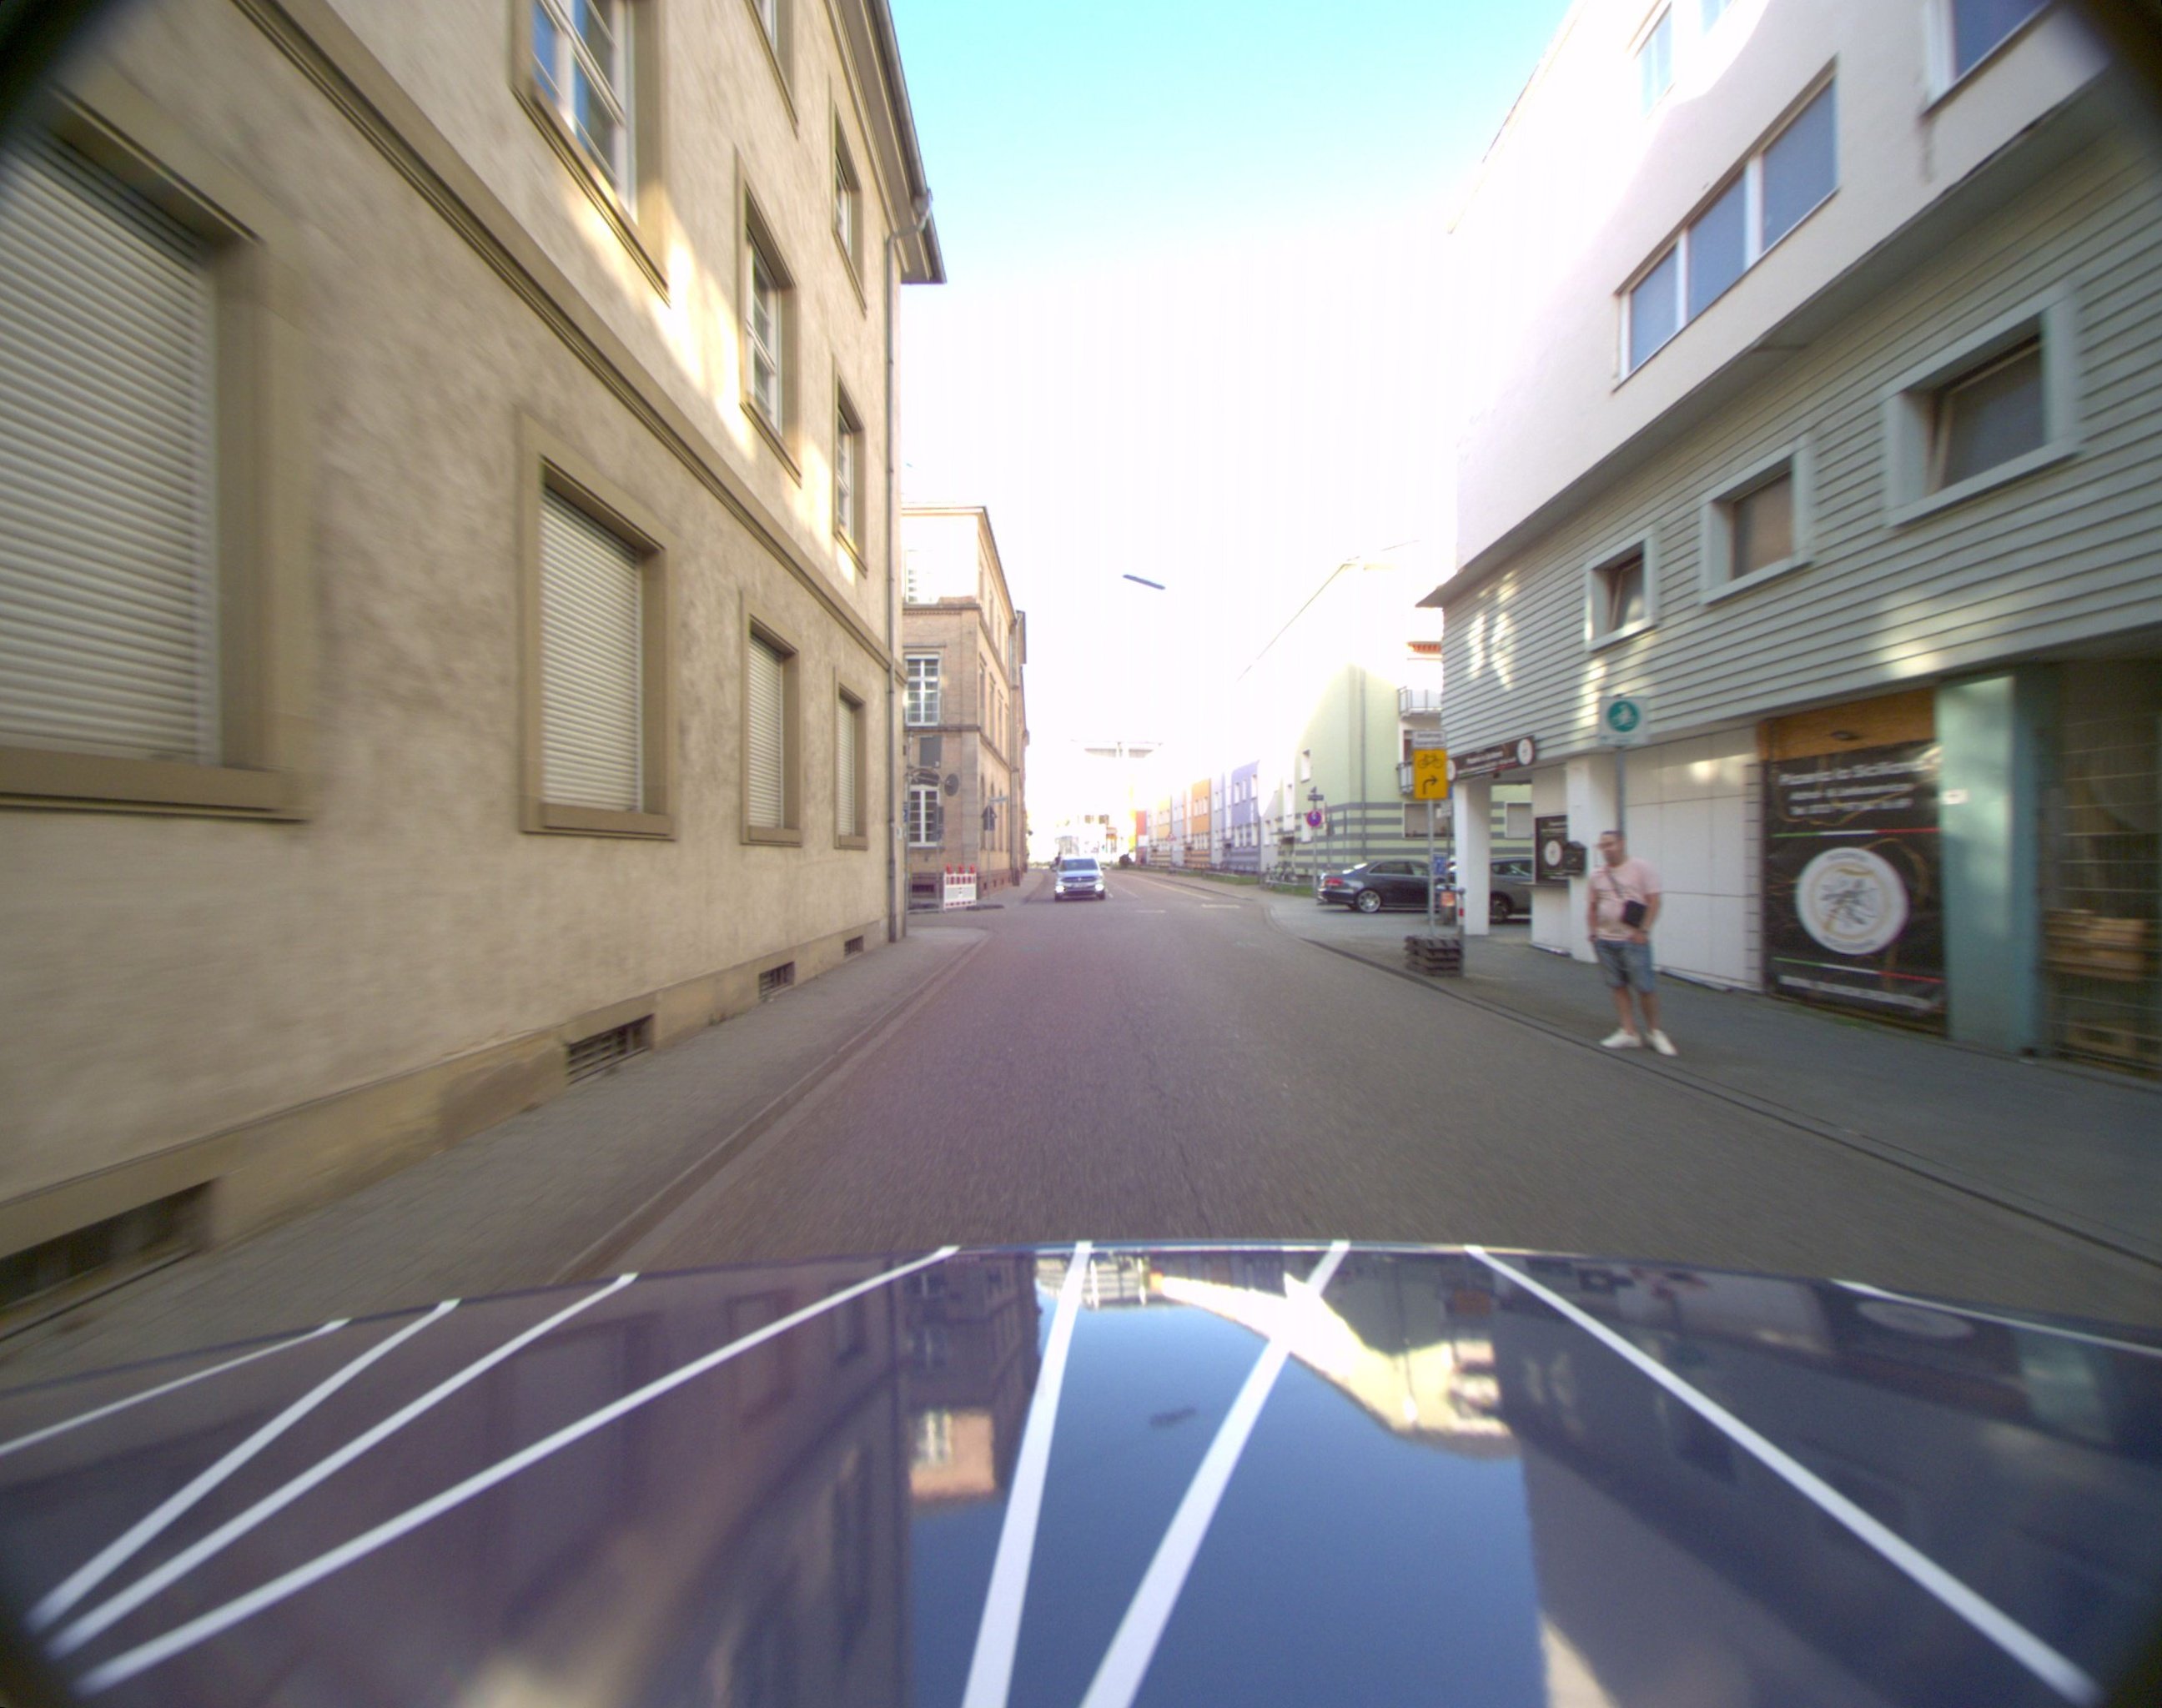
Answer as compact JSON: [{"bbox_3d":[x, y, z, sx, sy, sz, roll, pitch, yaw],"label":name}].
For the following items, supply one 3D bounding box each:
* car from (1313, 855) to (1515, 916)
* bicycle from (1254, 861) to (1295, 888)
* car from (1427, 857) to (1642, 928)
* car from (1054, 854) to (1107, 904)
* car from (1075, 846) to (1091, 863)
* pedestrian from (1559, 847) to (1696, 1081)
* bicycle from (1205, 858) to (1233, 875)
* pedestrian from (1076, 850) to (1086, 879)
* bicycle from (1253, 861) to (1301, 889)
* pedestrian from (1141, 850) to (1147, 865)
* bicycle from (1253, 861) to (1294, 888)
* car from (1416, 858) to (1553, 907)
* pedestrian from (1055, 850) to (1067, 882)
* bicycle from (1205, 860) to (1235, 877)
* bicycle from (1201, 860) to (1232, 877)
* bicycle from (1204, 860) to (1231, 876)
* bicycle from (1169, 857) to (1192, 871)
[{"bbox_3d":[8.768,0.821,20.400,4.663,1.471,1.787,-1,3,10],"label":"car"},{"bbox_3d":[8.797,0.943,34.553,1.739,1.094,0.388,-4,1,-7],"label":"bicycle"},{"bbox_3d":[10.239,0.833,17.341,3.942,1.511,1.692,0,0,-2],"label":"car"},{"bbox_3d":[-0.069,0.842,27.586,1.683,1.568,4.242,-3,0,-1],"label":"car"},{"bbox_3d":[0.188,0.030,84.733,1.683,1.776,4.242,-3,0,0],"label":"car"},{"bbox_3d":[4.151,0.793,5.800,0.494,1.660,0.627,-3,1,-12],"label":"pedestrian"},{"bbox_3d":[8.908,0.791,48.974,1.657,0.940,0.388,-4,1,0],"label":"bicycle"},{"bbox_3d":[-0.010,0.622,45.976,0.603,1.770,0.652,-1,1,-1],"label":"pedestrian"},{"bbox_3d":[8.531,0.906,33.116,1.820,1.094,0.749,-4,0,-1],"label":"bicycle"},{"bbox_3d":[6.631,0.383,79.950,0.612,1.641,0.447,-1,1,-6],"label":"pedestrian"},{"bbox_3d":[8.875,0.924,34.958,1.739,1.094,0.388,-4,1,-7],"label":"bicycle"},{"bbox_3d":[12.453,0.867,23.571,3.342,1.428,1.725,0,0,-1],"label":"car"},{"bbox_3d":[-1.242,0.728,46.790,0.677,1.928,0.858,-1,0,-1],"label":"pedestrian"},{"bbox_3d":[8.728,0.933,47.720,1.803,0.940,0.388,-4,1,0],"label":"bicycle"},{"bbox_3d":[8.359,0.898,47.025,1.803,0.940,0.388,-4,1,0],"label":"bicycle"},{"bbox_3d":[8.872,0.910,49.382,1.657,0.940,0.388,-4,1,0],"label":"bicycle"},{"bbox_3d":[8.358,0.825,63.783,1.807,0.977,0.654,-5,1,-4],"label":"bicycle"}]
